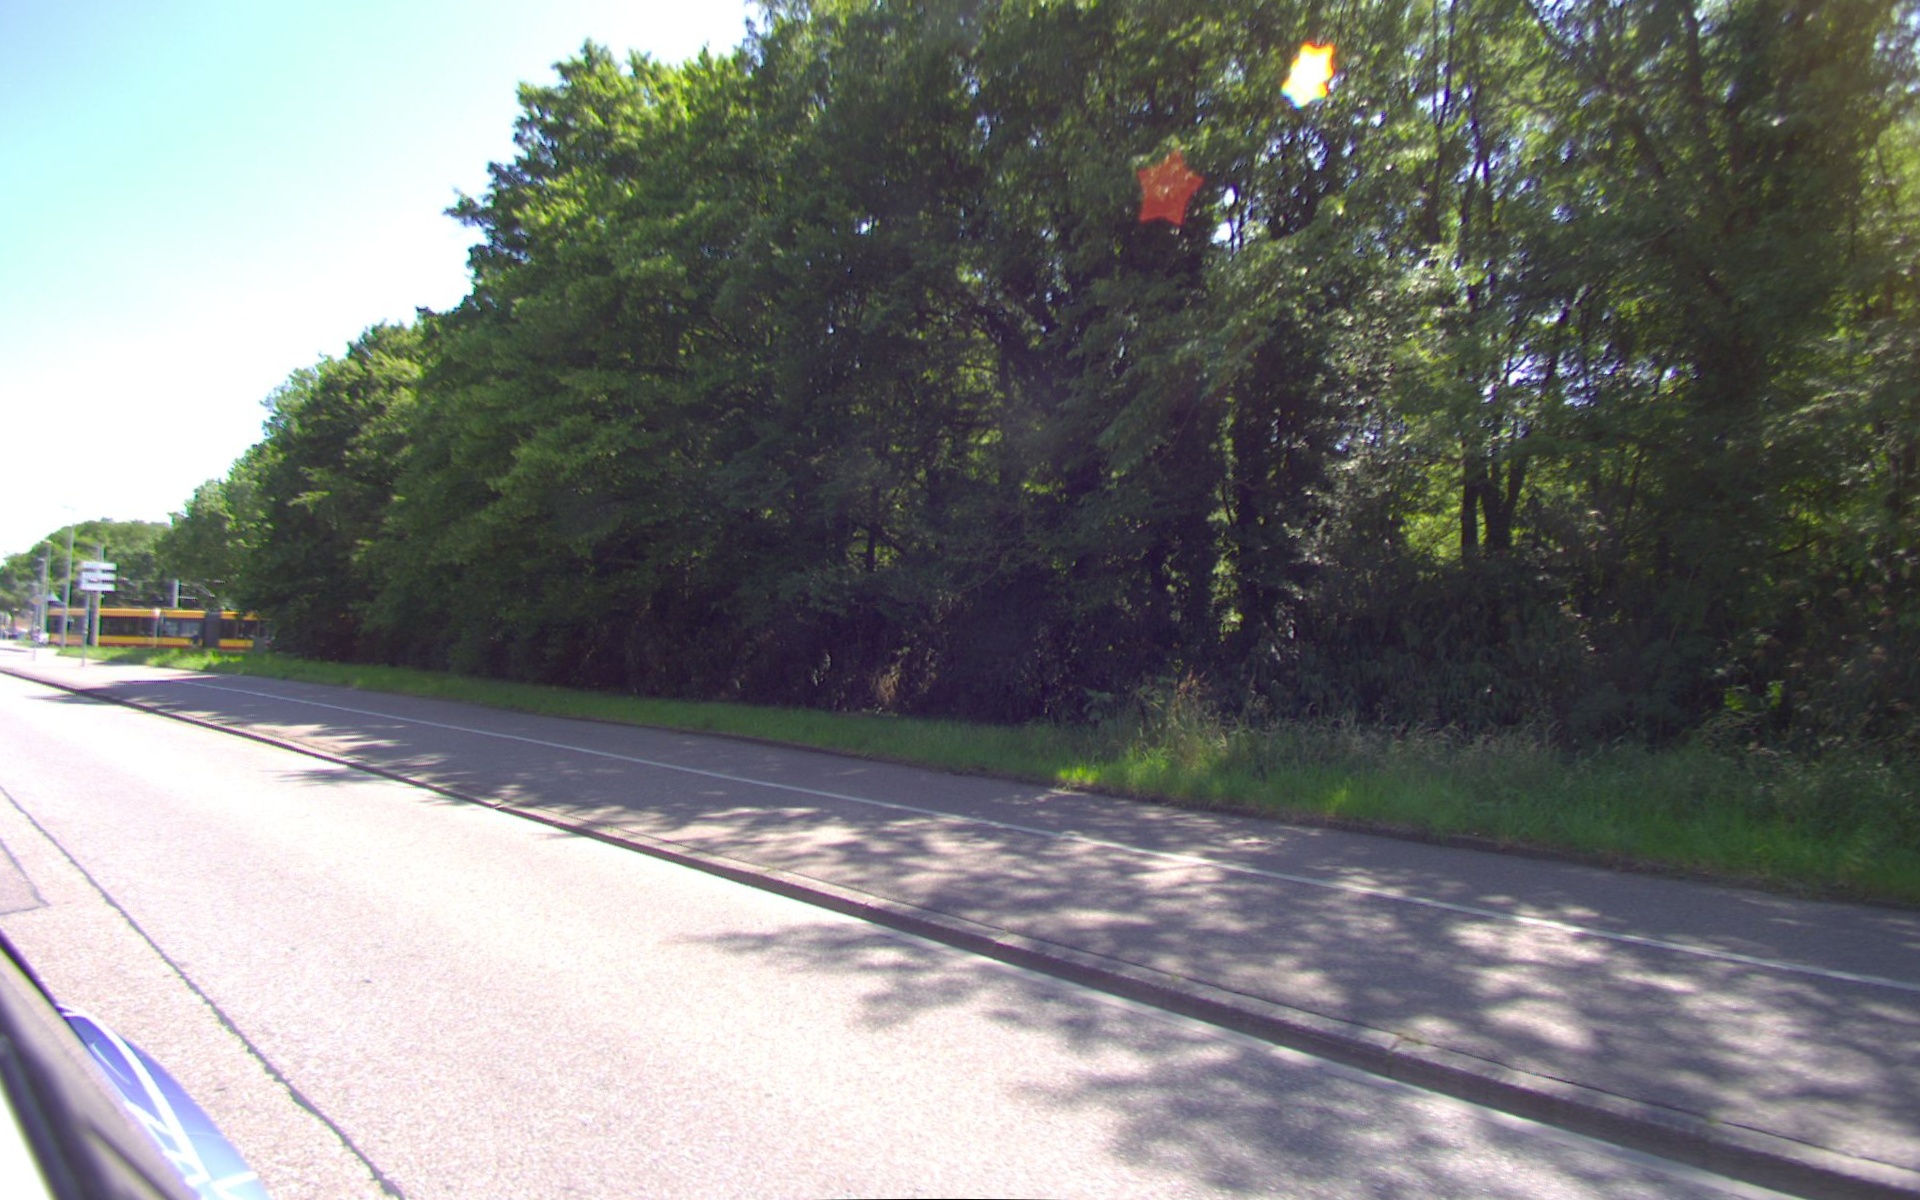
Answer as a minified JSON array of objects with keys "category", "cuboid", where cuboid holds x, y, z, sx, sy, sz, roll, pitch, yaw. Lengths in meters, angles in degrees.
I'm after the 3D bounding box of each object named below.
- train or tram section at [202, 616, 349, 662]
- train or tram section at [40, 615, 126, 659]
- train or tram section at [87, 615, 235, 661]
[{"category":"train or tram section","cuboid":[-54.550,3.150,80.972,9.192,3.492,2.791,2,-3,-16]},{"category":"train or tram section","cuboid":[-73.118,3.086,84.307,10.825,3.492,2.549,-1,-4,34]},{"category":"train or tram section","cuboid":[-63.539,3.021,80.522,10.731,3.492,2.643,0,-3,9]}]
